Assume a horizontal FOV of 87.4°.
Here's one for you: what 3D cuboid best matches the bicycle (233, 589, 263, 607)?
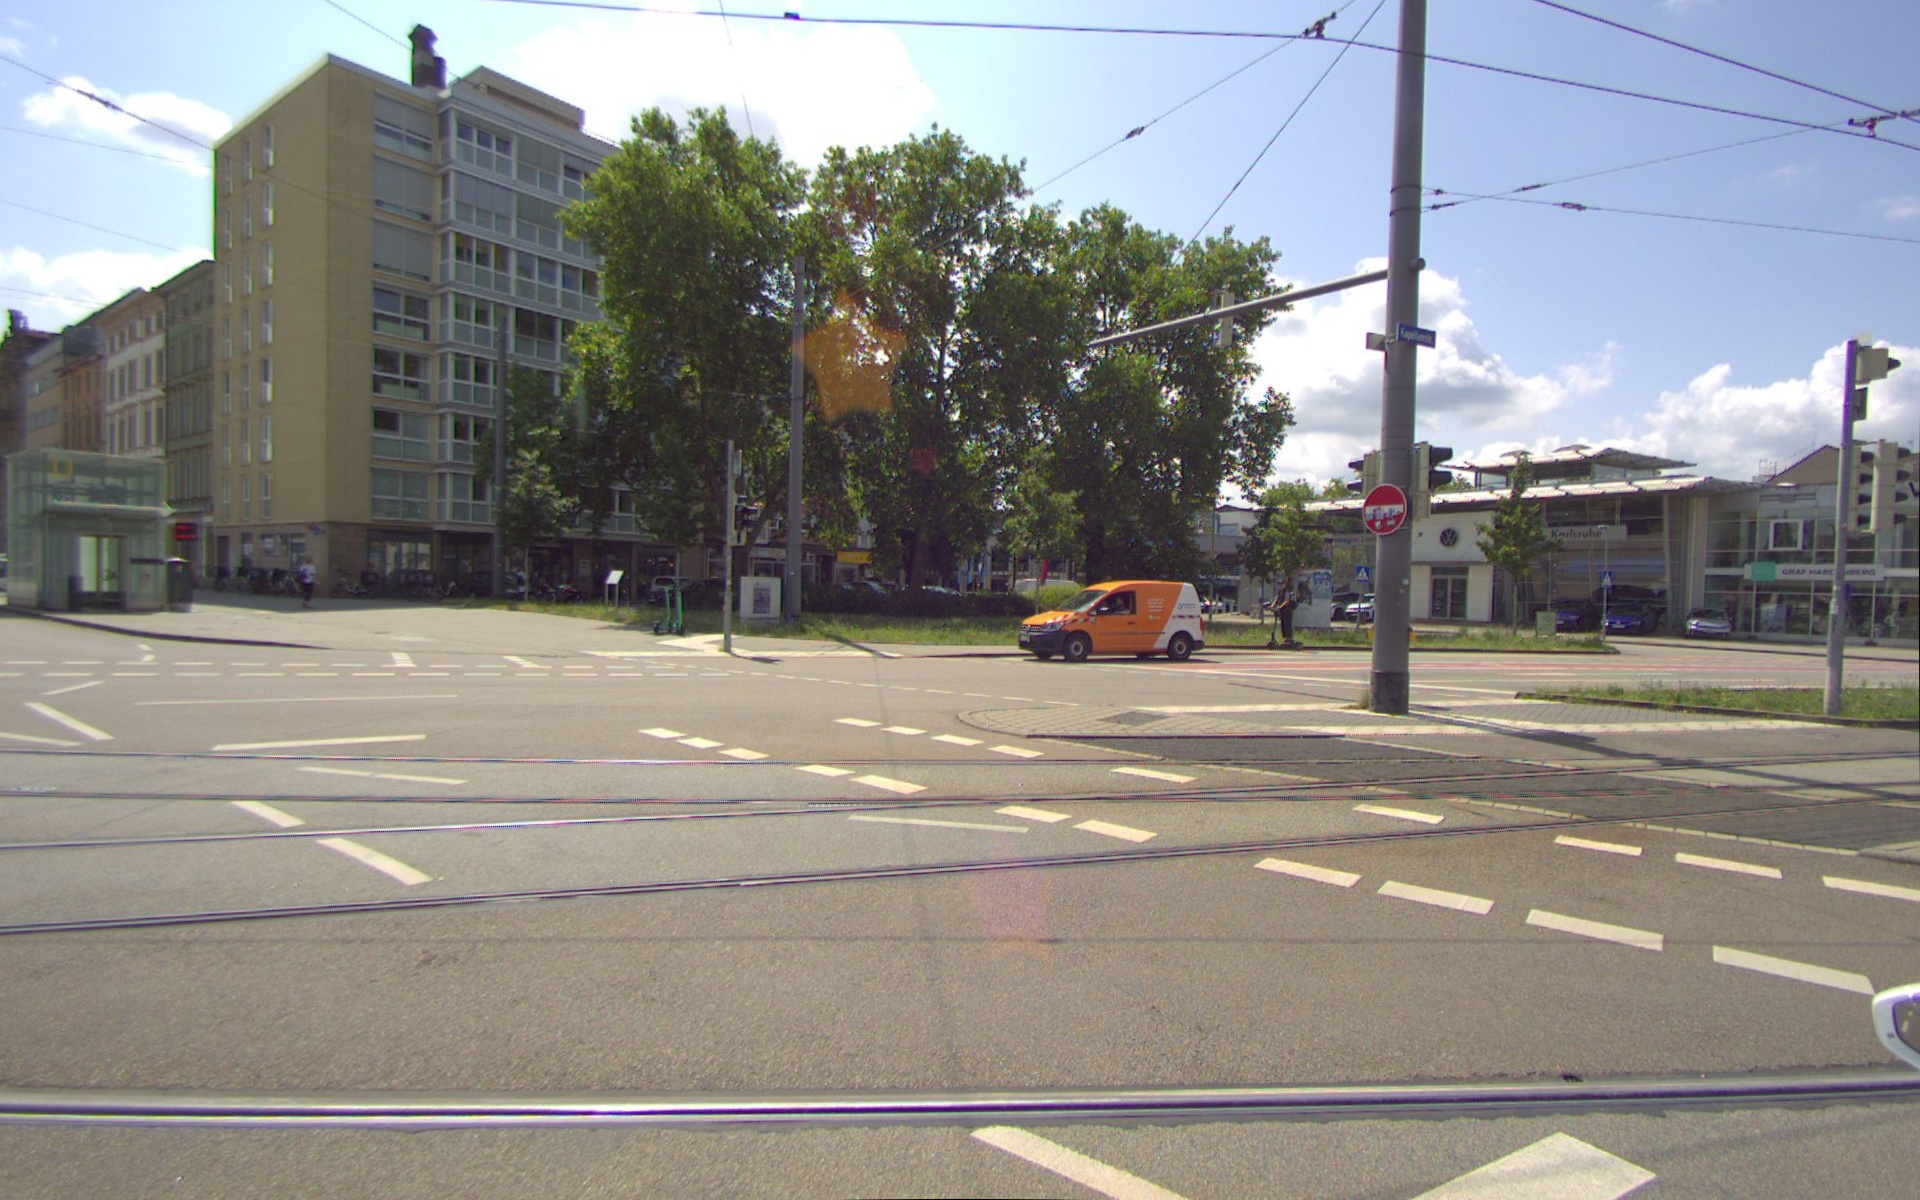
[{"bbox_3d":[-32.633,-0.087,46.055,0.372,0.835,1.062,2,1,35],"label":"bicycle"}]

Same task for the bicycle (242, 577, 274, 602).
[{"bbox_3d":[-32.008,-0.468,45.816,0.303,1.089,1.157,2,1,35],"label":"bicycle"}]

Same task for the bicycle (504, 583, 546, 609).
[{"bbox_3d":[-18.864,-0.184,43.575,0.486,1.081,1.595,3,1,39],"label":"bicycle"}]

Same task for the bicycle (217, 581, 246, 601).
[{"bbox_3d":[-35.209,-0.426,48.576,0.372,0.950,1.062,2,1,35],"label":"bicycle"}]

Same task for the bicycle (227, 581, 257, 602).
[{"bbox_3d":[-33.497,-0.377,46.858,0.372,0.950,1.062,2,1,35],"label":"bicycle"}]

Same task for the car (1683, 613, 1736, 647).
[{"bbox_3d":[35.910,1.407,48.220,1.804,1.466,3.935,3,1,34],"label":"car"}]

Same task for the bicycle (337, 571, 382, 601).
[{"bbox_3d":[-26.491,-0.615,44.327,0.486,1.282,1.595,3,1,39],"label":"bicycle"}]

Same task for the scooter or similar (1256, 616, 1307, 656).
[{"bbox_3d":[9.024,1.013,28.223,1.076,1.046,0.803,2,1,-20],"label":"scooter or similar"}]

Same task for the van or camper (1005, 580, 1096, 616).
[{"bbox_3d":[6.754,-0.144,74.689,6.612,2.533,2.555,1,1,-34],"label":"van or camper"}]

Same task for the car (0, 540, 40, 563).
[{"bbox_3d":[-76.076,-3.930,80.903,3.932,1.740,1.994,3,1,34],"label":"car"}]

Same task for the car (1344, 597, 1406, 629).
[{"bbox_3d":[25.652,0.806,62.080,3.825,1.798,1.684,2,1,-34],"label":"car"}]

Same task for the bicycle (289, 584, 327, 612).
[{"bbox_3d":[-27.832,-0.085,42.879,0.451,1.161,1.269,2,1,35],"label":"bicycle"}]

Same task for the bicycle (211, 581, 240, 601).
[{"bbox_3d":[-36.171,-0.435,49.460,0.372,0.950,1.062,2,1,34],"label":"bicycle"}]

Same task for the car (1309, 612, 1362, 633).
[{"bbox_3d":[24.032,1.441,64.235,3.609,1.262,1.540,2,1,-39],"label":"car"}]

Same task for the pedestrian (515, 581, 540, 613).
[{"bbox_3d":[-18.363,-0.122,42.634,0.553,1.344,0.758,3,1,35],"label":"pedestrian"}]

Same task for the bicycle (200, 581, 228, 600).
[{"bbox_3d":[-37.741,-0.460,50.814,0.372,0.950,1.062,2,1,34],"label":"bicycle"}]

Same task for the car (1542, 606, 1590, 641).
[{"bbox_3d":[31.364,1.188,52.059,1.743,1.695,3.635,2,1,26],"label":"car"}]

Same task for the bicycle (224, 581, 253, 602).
[{"bbox_3d":[-34.196,-0.391,47.628,0.372,0.950,1.062,2,1,35],"label":"bicycle"}]

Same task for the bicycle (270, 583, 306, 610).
[{"bbox_3d":[-29.561,-0.134,44.196,0.451,1.161,1.269,2,1,35],"label":"bicycle"}]

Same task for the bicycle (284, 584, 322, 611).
[{"bbox_3d":[-28.279,-0.096,43.232,0.451,1.161,1.269,2,1,35],"label":"bicycle"}]

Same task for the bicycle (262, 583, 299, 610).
[{"bbox_3d":[-30.141,-0.154,44.581,0.451,1.161,1.269,2,1,35],"label":"bicycle"}]

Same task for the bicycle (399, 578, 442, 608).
[{"bbox_3d":[-23.655,-0.305,44.054,0.486,1.282,1.595,3,1,39],"label":"bicycle"}]

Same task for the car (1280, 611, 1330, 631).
[{"bbox_3d":[22.713,1.386,66.063,3.613,1.262,1.538,2,1,-43],"label":"car"}]

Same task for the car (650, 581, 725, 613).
[{"bbox_3d":[-14.379,-0.166,52.941,3.869,1.531,1.872,2,1,38],"label":"car"}]

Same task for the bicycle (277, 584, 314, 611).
[{"bbox_3d":[-28.877,-0.117,43.661,0.451,1.161,1.269,2,1,35],"label":"bicycle"}]

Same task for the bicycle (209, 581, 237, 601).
[{"bbox_3d":[-36.714,-0.445,50.022,0.372,0.950,1.062,2,1,34],"label":"bicycle"}]

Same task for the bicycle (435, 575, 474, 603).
[{"bbox_3d":[-23.961,-0.535,47.617,0.486,1.282,1.595,3,1,39],"label":"bicycle"}]

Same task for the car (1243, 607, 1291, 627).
[{"bbox_3d":[20.866,1.177,68.186,3.613,1.262,1.538,2,1,-43],"label":"car"}]

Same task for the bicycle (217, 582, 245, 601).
[{"bbox_3d":[-35.760,-0.414,49.283,0.372,0.950,1.062,2,1,34],"label":"bicycle"}]

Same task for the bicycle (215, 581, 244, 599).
[{"bbox_3d":[-35.527,-0.464,48.860,0.372,0.861,1.062,2,1,34],"label":"bicycle"}]

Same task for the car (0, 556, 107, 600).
[{"bbox_3d":[-37.172,-0.865,40.754,1.598,1.664,4.172,2,0,-1],"label":"car"}]

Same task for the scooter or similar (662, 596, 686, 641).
[{"bbox_3d":[-7.355,0.479,25.826,0.548,1.140,0.414,1,1,-21],"label":"scooter or similar"}]

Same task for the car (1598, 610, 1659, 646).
[{"bbox_3d":[32.730,1.342,49.118,3.760,1.494,1.639,-2,3,-43],"label":"car"}]

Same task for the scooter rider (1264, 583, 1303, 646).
[{"bbox_3d":[9.087,0.407,28.227,0.639,1.730,0.776,2,1,-20],"label":"scooter rider"}]

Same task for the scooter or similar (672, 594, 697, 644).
[{"bbox_3d":[-6.910,0.475,25.192,0.541,1.216,0.460,1,1,-21],"label":"scooter or similar"}]

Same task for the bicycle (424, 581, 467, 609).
[{"bbox_3d":[-22.515,-0.227,43.982,0.486,1.183,1.595,3,1,39],"label":"bicycle"}]

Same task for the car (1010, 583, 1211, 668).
[{"bbox_3d":[3.400,0.574,22.771,4.180,1.789,1.762,1,0,-22],"label":"car"}]

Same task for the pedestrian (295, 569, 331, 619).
[{"bbox_3d":[-21.016,-0.201,32.649,0.873,1.581,0.715,1,1,-42],"label":"pedestrian"}]
